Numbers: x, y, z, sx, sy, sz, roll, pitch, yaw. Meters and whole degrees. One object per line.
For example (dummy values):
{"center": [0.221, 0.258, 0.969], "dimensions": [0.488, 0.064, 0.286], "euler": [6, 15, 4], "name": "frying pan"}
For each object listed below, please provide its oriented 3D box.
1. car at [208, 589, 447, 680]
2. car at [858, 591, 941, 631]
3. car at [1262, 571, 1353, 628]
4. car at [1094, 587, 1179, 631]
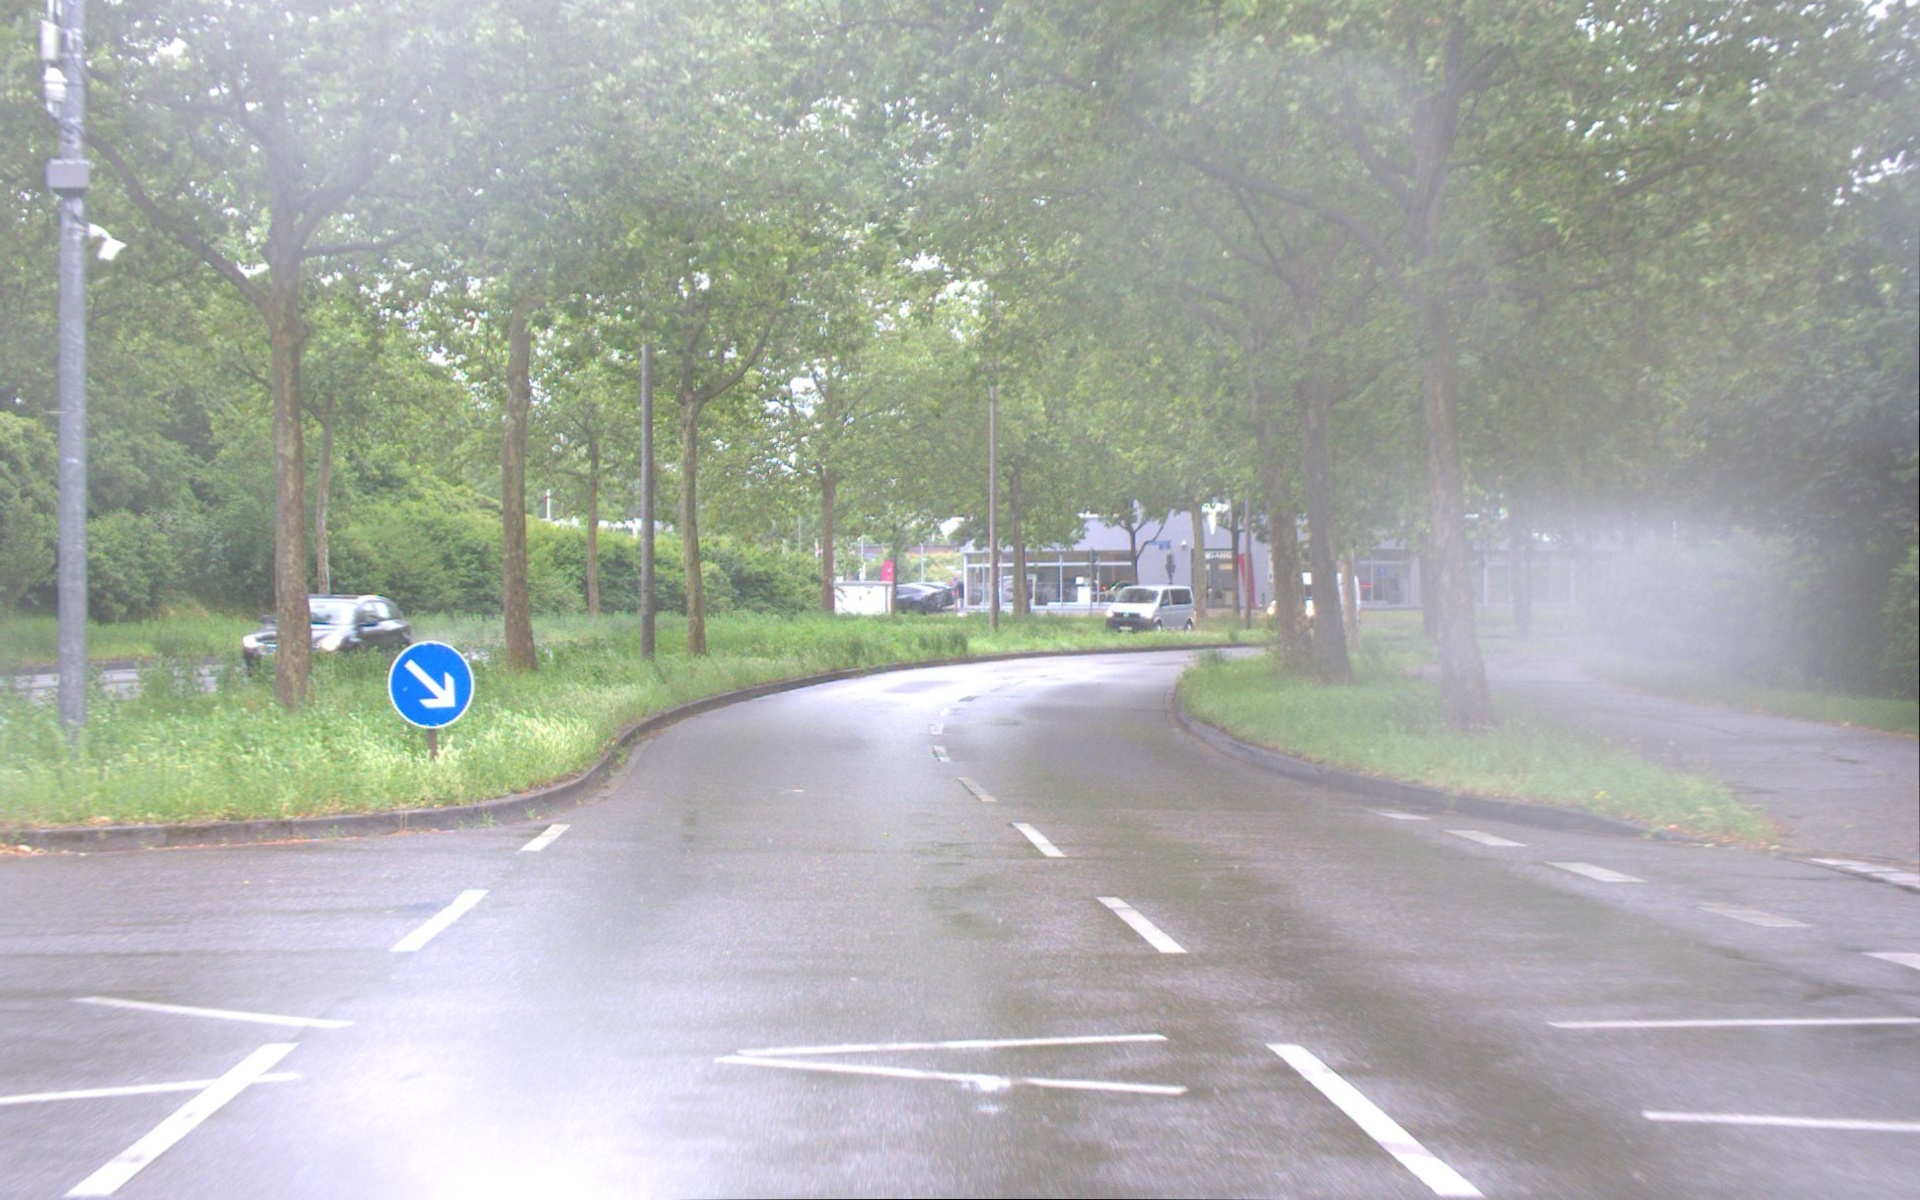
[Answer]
{"center": [-10.544, 0.555, 57.712], "dimensions": [2.005, 1.447, 4.988], "euler": [-1, 0, 15], "name": "car"}
{"center": [-3.129, 0.568, 177.240], "dimensions": [3.986, 2.007, 2.000], "euler": [0, -2, -9], "name": "car"}
{"center": [14.187, -0.009, 139.996], "dimensions": [2.284, 2.264, 5.961], "euler": [0, 0, 20], "name": "car"}
{"center": [6.439, 0.327, 124.926], "dimensions": [1.973, 1.558, 4.726], "euler": [0, 0, 18], "name": "car"}
